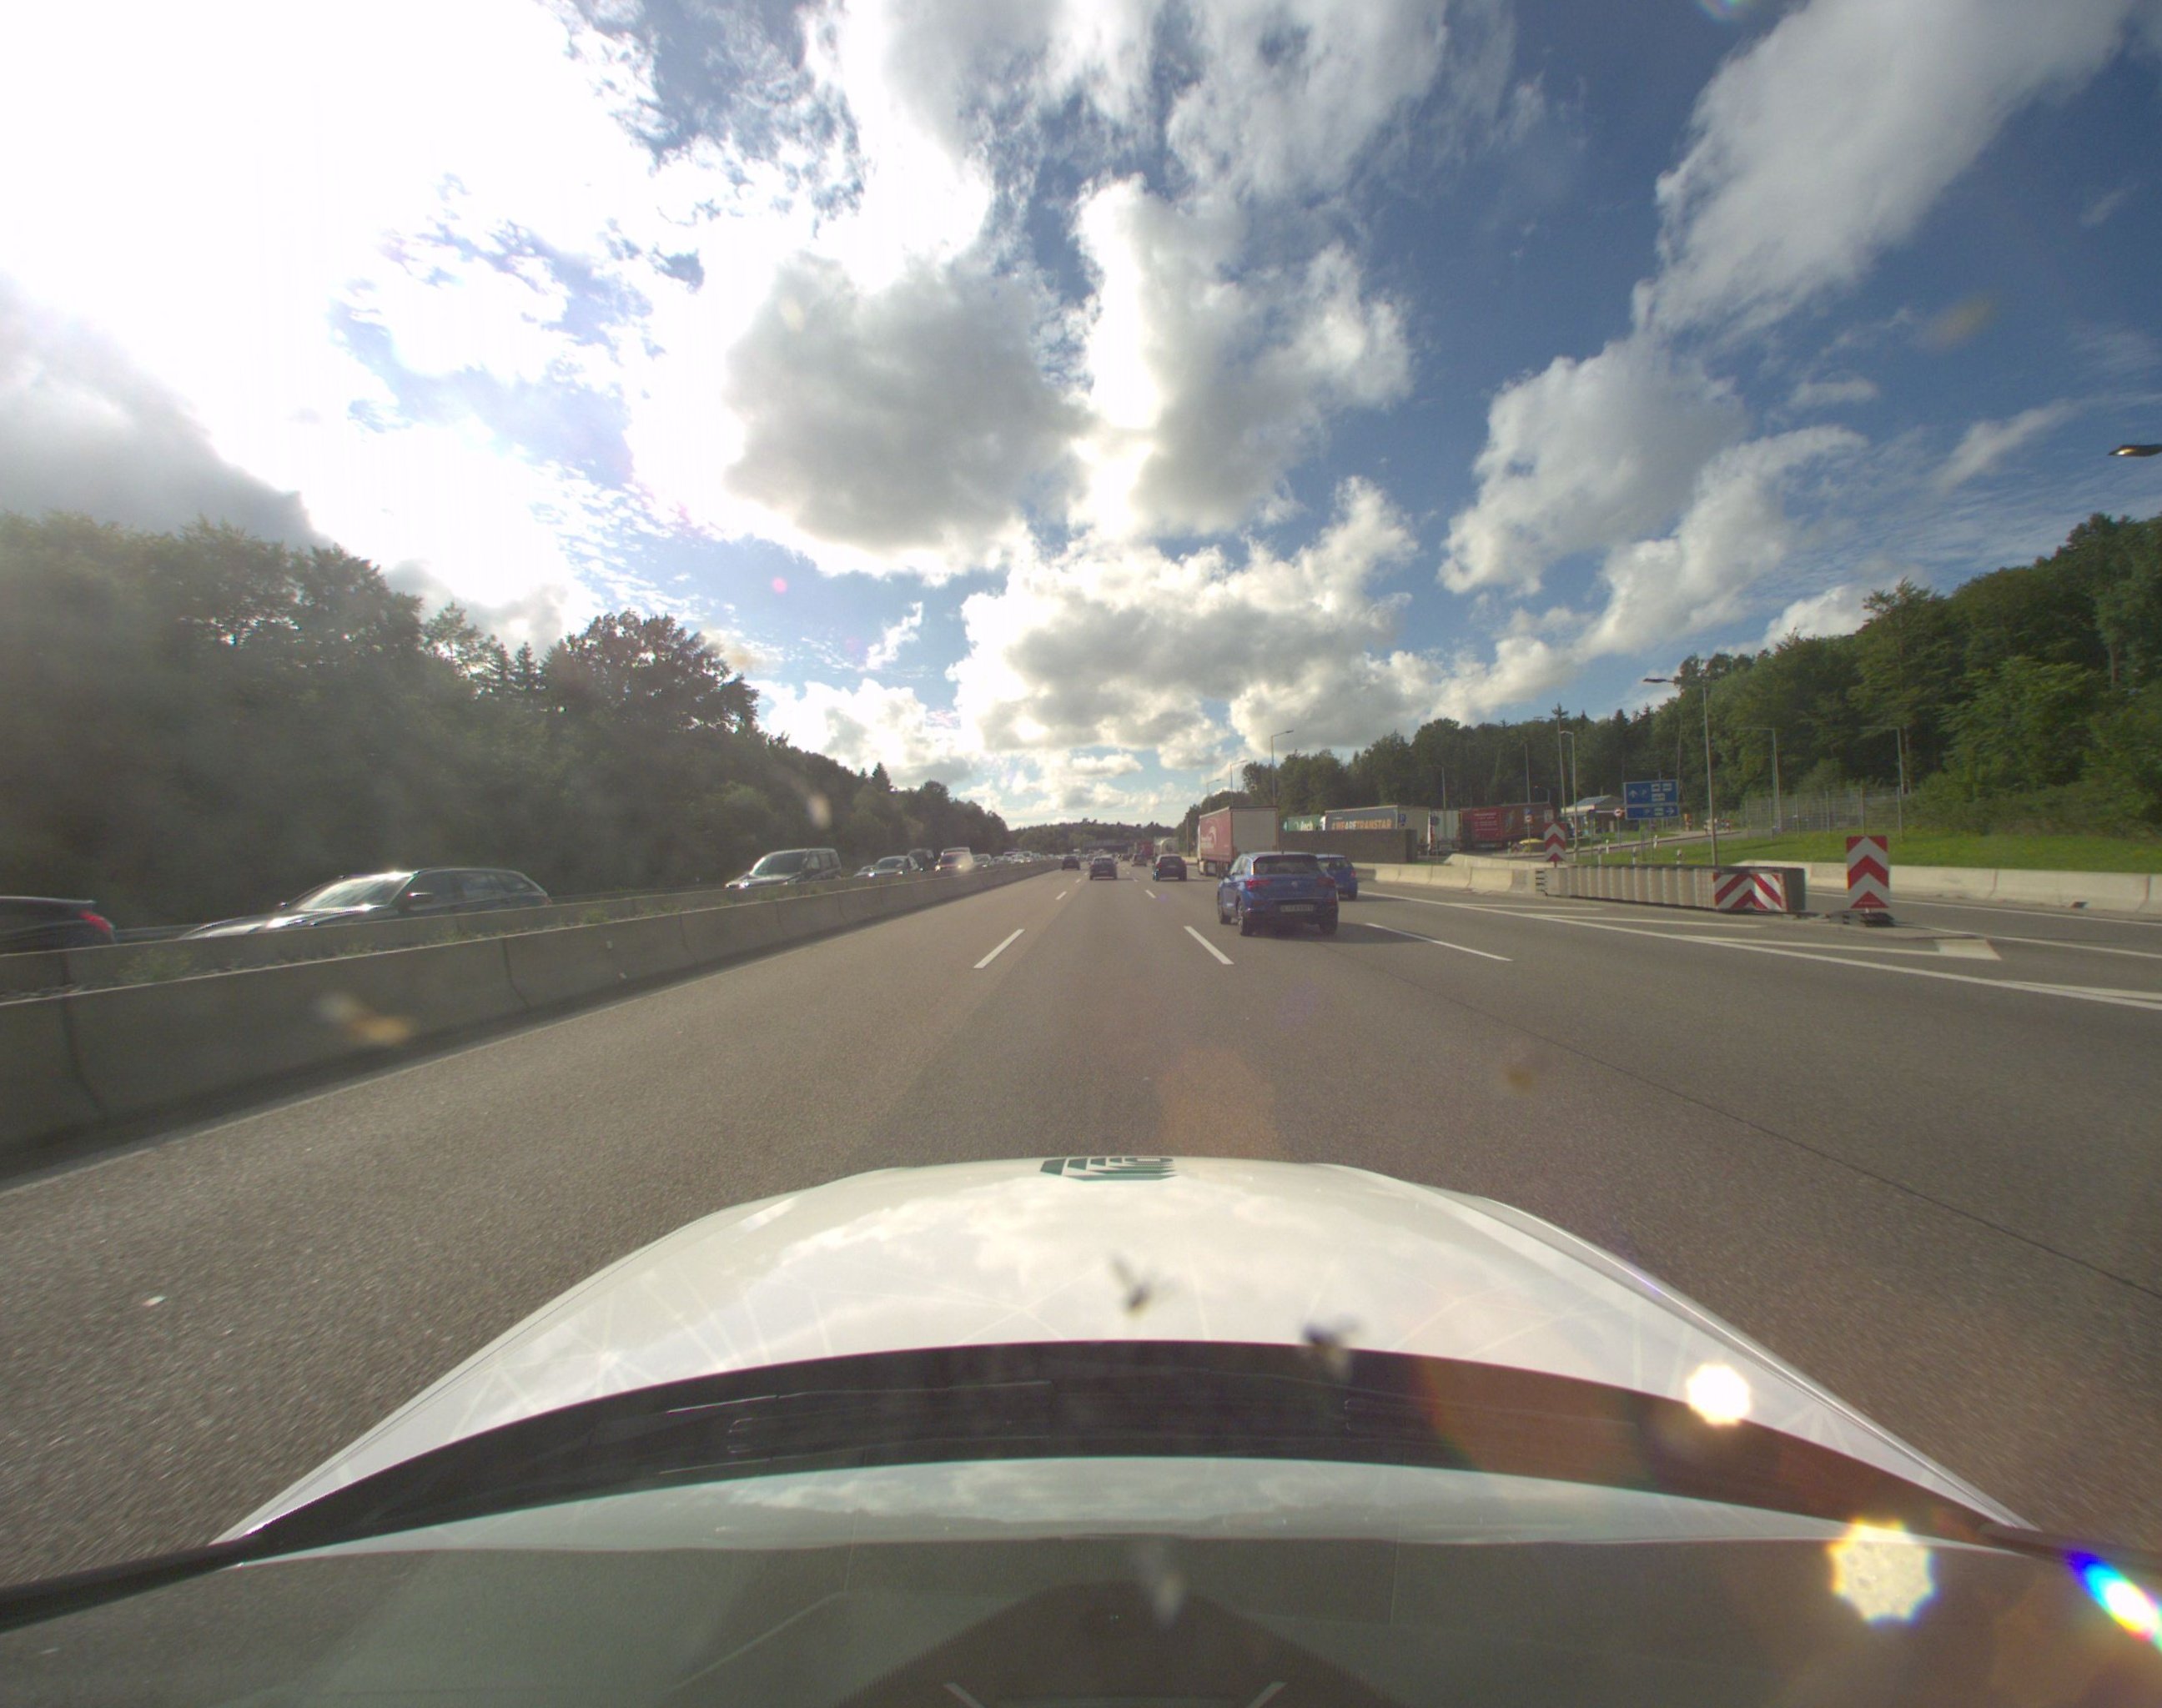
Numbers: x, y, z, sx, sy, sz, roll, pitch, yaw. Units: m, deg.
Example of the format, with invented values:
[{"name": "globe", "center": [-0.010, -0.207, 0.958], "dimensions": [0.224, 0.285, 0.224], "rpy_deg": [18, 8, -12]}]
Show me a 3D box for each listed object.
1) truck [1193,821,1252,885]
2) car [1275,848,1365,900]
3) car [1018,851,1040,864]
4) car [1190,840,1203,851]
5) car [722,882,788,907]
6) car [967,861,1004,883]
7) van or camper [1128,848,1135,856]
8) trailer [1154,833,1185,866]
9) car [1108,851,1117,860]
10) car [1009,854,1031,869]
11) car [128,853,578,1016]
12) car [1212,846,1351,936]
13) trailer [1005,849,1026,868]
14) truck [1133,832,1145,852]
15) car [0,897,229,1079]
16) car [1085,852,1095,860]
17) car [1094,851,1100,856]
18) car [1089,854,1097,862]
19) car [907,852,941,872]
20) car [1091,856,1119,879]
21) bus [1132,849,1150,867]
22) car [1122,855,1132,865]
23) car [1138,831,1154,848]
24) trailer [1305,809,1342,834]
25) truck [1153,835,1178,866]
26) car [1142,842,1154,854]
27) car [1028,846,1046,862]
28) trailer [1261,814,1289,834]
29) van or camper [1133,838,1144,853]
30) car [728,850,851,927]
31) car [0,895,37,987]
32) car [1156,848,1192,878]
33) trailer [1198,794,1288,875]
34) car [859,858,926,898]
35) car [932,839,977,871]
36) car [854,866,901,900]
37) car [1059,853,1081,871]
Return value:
[{"name": "truck", "center": [9.557, 0.027, 55.703], "dimensions": [3.069, 4.064, 6.071], "rpy_deg": [-1, -2, 2]}, {"name": "car", "center": [7.777, 0.654, 26.916], "dimensions": [1.709, 1.511, 4.301], "rpy_deg": [-2, -1, 0]}, {"name": "car", "center": [-6.161, 0.396, 97.016], "dimensions": [1.985, 1.572, 5.333], "rpy_deg": [1, 0, 3]}, {"name": "car", "center": [22.275, -1.689, 156.941], "dimensions": [1.986, 2.014, 4.001], "rpy_deg": [-3, -1, 2]}, {"name": "car", "center": [-19.511, 2.420, 48.979], "dimensions": [1.705, 1.401, 5.075], "rpy_deg": [-1, -2, 3]}, {"name": "car", "center": [-7.417, 1.359, 63.546], "dimensions": [1.985, 1.572, 5.211], "rpy_deg": [-1, 0, 3]}, {"name": "van or camper", "center": [16.218, -0.785, 260.788], "dimensions": [2.076, 2.493, 4.226], "rpy_deg": [-2, 0, 2]}, {"name": "trailer", "center": [11.685, -0.534, 108.819], "dimensions": [3.025, 4.016, 12.247], "rpy_deg": [-1, -1, 1]}, {"name": "car", "center": [7.457, 0.295, 191.758], "dimensions": [1.986, 2.014, 4.001], "rpy_deg": [-2, -2, 2]}, {"name": "car", "center": [-6.611, 0.788, 88.516], "dimensions": [1.758, 1.572, 4.360], "rpy_deg": [-1, 0, 3]}, {"name": "car", "center": [-9.368, 0.953, 11.172], "dimensions": [1.985, 1.759, 4.461], "rpy_deg": [-1, -2, 3]}, {"name": "car", "center": [3.875, 0.630, 16.552], "dimensions": [1.916, 1.541, 4.649], "rpy_deg": [0, 1, 3]}, {"name": "trailer", "center": [-9.626, 0.683, 121.115], "dimensions": [2.271, 2.786, 8.542], "rpy_deg": [-1, 0, 1]}, {"name": "truck", "center": [12.274, -2.442, 172.035], "dimensions": [2.348, 3.573, 11.274], "rpy_deg": [-1, -2, 3]}, {"name": "car", "center": [-13.236, 1.561, 9.366], "dimensions": [1.985, 2.014, 4.461], "rpy_deg": [-1, -2, 3]}, {"name": "car", "center": [2.106, 0.478, 185.249], "dimensions": [2.146, 1.776, 4.002], "rpy_deg": [-1, -1, 2]}, {"name": "car", "center": [4.959, -0.269, 253.119], "dimensions": [1.617, 1.470, 3.816], "rpy_deg": [0, -1, 2]}, {"name": "car", "center": [3.212, 1.041, 213.249], "dimensions": [1.987, 2.013, 3.999], "rpy_deg": [-1, 0, -1]}, {"name": "car", "center": [-14.297, 0.681, 74.573], "dimensions": [1.985, 1.762, 4.462], "rpy_deg": [-1, 0, 3]}, {"name": "car", "center": [1.549, 0.874, 51.701], "dimensions": [1.727, 1.365, 4.002], "rpy_deg": [-1, -1, 2]}, {"name": "bus", "center": [7.225, 0.496, 98.408], "dimensions": [1.986, 2.014, 4.002], "rpy_deg": [-1, -2, 2]}, {"name": "car", "center": [9.439, 1.274, 168.222], "dimensions": [1.986, 2.014, 4.001], "rpy_deg": [0, -1, 2]}, {"name": "car", "center": [12.243, -2.702, 154.618], "dimensions": [2.854, 2.992, 5.152], "rpy_deg": [-1, -2, 3]}, {"name": "trailer", "center": [23.791, -3.143, 80.130], "dimensions": [1.986, 2.014, 6.194], "rpy_deg": [-1, -2, 1]}, {"name": "truck", "center": [11.900, -0.411, 115.011], "dimensions": [3.034, 4.160, 7.129], "rpy_deg": [-1, -1, 2]}, {"name": "car", "center": [11.917, -1.025, 144.593], "dimensions": [1.986, 2.014, 4.001], "rpy_deg": [-1, -2, 2]}, {"name": "car", "center": [-5.715, 0.036, 107.197], "dimensions": [1.986, 2.014, 4.677], "rpy_deg": [-1, -2, 1]}, {"name": "trailer", "center": [23.989, -3.654, 100.854], "dimensions": [2.043, 2.014, 6.966], "rpy_deg": [-1, -2, 2]}, {"name": "van or camper", "center": [12.673, -1.847, 179.104], "dimensions": [2.342, 3.144, 5.714], "rpy_deg": [-1, -2, 3]}, {"name": "car", "center": [-8.376, 0.981, 23.873], "dimensions": [1.809, 2.014, 4.455], "rpy_deg": [-1, -2, 3]}, {"name": "car", "center": [-24.912, 1.888, 16.339], "dimensions": [1.985, 2.014, 4.461], "rpy_deg": [-1, -2, 3]}, {"name": "car", "center": [5.327, 0.508, 47.068], "dimensions": [1.792, 1.644, 4.002], "rpy_deg": [-1, -1, 2]}, {"name": "trailer", "center": [9.328, -0.840, 48.865], "dimensions": [3.027, 4.035, 13.893], "rpy_deg": [-1, -2, 2]}, {"name": "car", "center": [-8.806, 1.098, 38.423], "dimensions": [1.850, 1.763, 4.462], "rpy_deg": [-1, -1, 3]}, {"name": "car", "center": [-7.545, 0.071, 49.055], "dimensions": [1.870, 1.762, 5.293], "rpy_deg": [-1, 0, 0]}, {"name": "car", "center": [-15.311, 2.137, 61.623], "dimensions": [1.985, 2.373, 5.333], "rpy_deg": [-1, 0, 3]}, {"name": "car", "center": [-1.123, 0.822, 85.781], "dimensions": [1.986, 1.776, 4.002], "rpy_deg": [-2, 0, 2]}]
